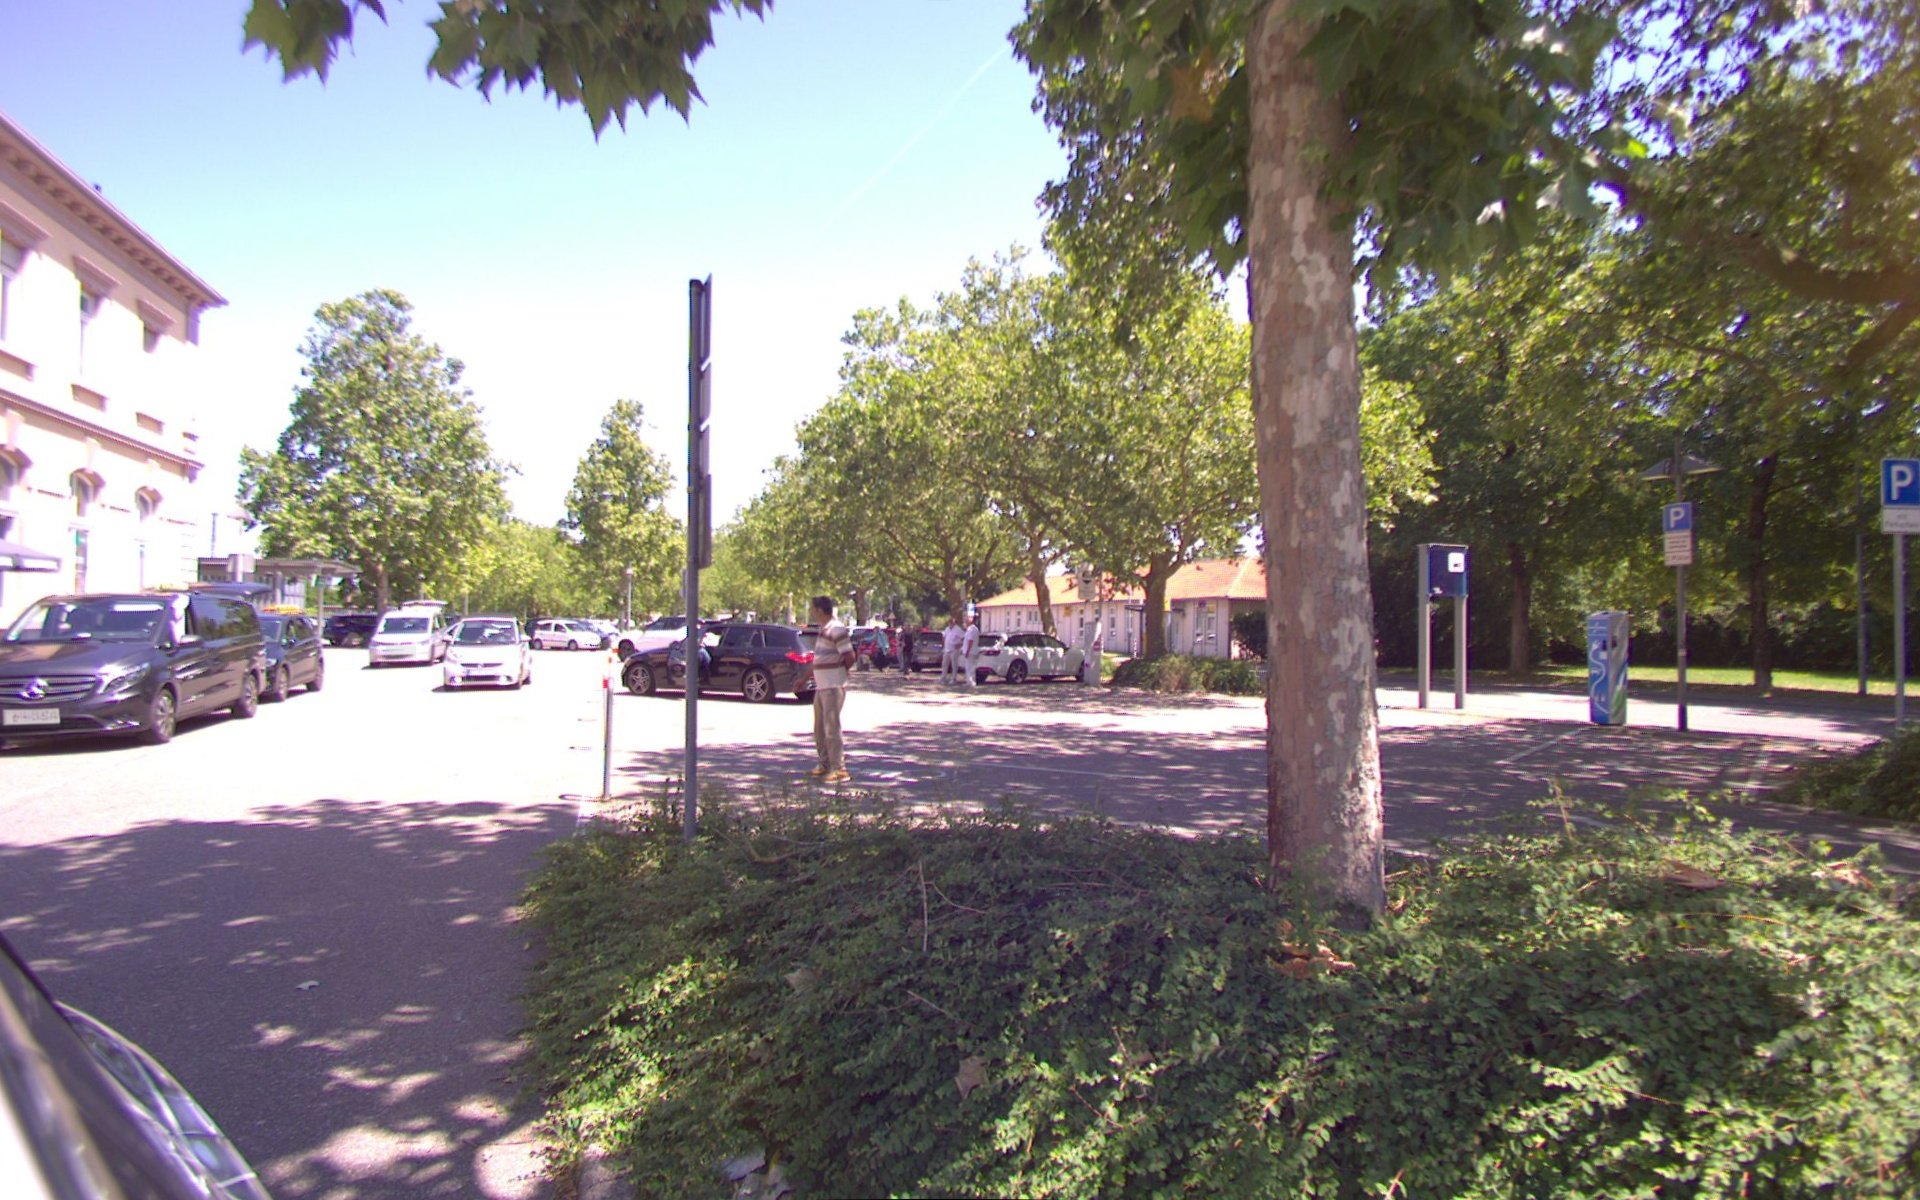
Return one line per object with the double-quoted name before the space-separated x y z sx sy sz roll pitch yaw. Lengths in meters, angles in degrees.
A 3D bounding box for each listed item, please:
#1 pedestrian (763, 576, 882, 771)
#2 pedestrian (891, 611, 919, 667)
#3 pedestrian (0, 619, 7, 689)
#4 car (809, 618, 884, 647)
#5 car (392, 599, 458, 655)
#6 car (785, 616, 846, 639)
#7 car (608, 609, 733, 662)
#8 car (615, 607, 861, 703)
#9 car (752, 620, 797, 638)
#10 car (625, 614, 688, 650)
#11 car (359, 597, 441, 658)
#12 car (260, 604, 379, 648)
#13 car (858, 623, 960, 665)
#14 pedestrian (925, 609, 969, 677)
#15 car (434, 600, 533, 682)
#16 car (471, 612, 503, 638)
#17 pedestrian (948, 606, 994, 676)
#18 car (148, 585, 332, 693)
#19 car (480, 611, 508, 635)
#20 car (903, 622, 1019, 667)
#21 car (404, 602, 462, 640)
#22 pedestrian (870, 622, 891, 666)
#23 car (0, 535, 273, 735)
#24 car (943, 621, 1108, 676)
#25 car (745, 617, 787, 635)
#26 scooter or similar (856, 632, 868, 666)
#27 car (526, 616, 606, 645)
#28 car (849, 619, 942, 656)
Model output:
"pedestrian" -1.279 0.658 9.482 0.810 1.730 0.767 0 -1 24
"pedestrian" -1.559 1.105 28.649 0.579 1.560 0.612 2 -2 -23
"pedestrian" -16.455 0.890 16.619 0.837 1.173 0.884 3 -2 -20
"car" -6.015 1.723 53.983 1.636 1.471 3.822 0 -2 42
"car" -20.806 1.026 39.535 1.969 2.005 4.618 -1 0 -24
"car" -9.576 1.814 67.105 1.636 1.458 3.822 0 -2 42
"car" -10.079 1.187 35.259 4.042 1.617 1.785 1 1 26
"car" -4.314 0.976 19.571 4.504 1.554 1.786 1 1 25
"car" -14.407 2.244 78.555 3.105 1.405 1.470 1 -1 -25
"car" -16.648 1.743 55.430 1.712 1.908 4.005 2 -2 -42
"car" -18.563 0.875 33.763 1.969 1.854 5.336 -1 0 -24
"car" -32.965 1.306 52.243 4.879 2.136 2.058 -1 0 -21
"car" -1.908 1.639 38.384 1.636 1.471 3.822 0 -2 42
"pedestrian" -0.354 1.142 27.025 0.825 1.784 0.853 2 -2 -38
"car" -10.131 0.837 21.699 1.574 1.605 3.116 1 -1 -19
"car" -34.933 1.809 74.817 2.016 1.854 4.981 -1 0 -24
"pedestrian" 0.293 1.051 26.211 0.825 1.784 0.853 2 -2 -39
"car" -13.959 0.736 19.951 2.044 1.854 4.856 0 -2 -24
"car" -37.306 1.813 81.066 2.016 1.854 4.981 -1 0 -24
"car" 0.094 1.503 35.002 1.877 1.416 3.972 -1 -2 41
"car" -27.256 1.037 52.483 1.966 1.803 4.261 -1 0 -18
"pedestrian" -2.637 1.438 33.554 0.680 1.435 0.802 1 -1 -4
"car" -11.126 0.453 13.672 2.057 2.140 5.844 0 -2 -24
"car" 1.920 1.319 28.693 4.701 1.427 1.790 1 -1 -38
"car" -15.715 2.080 81.995 3.105 1.405 1.470 1 -1 -25
"scooter or similar" -3.227 1.607 33.401 0.397 1.110 0.438 1 -1 -5
"car" -19.786 1.539 50.873 3.488 1.414 1.791 0 -2 22
"car" -2.645 1.532 42.162 1.636 1.471 3.822 0 -2 42
